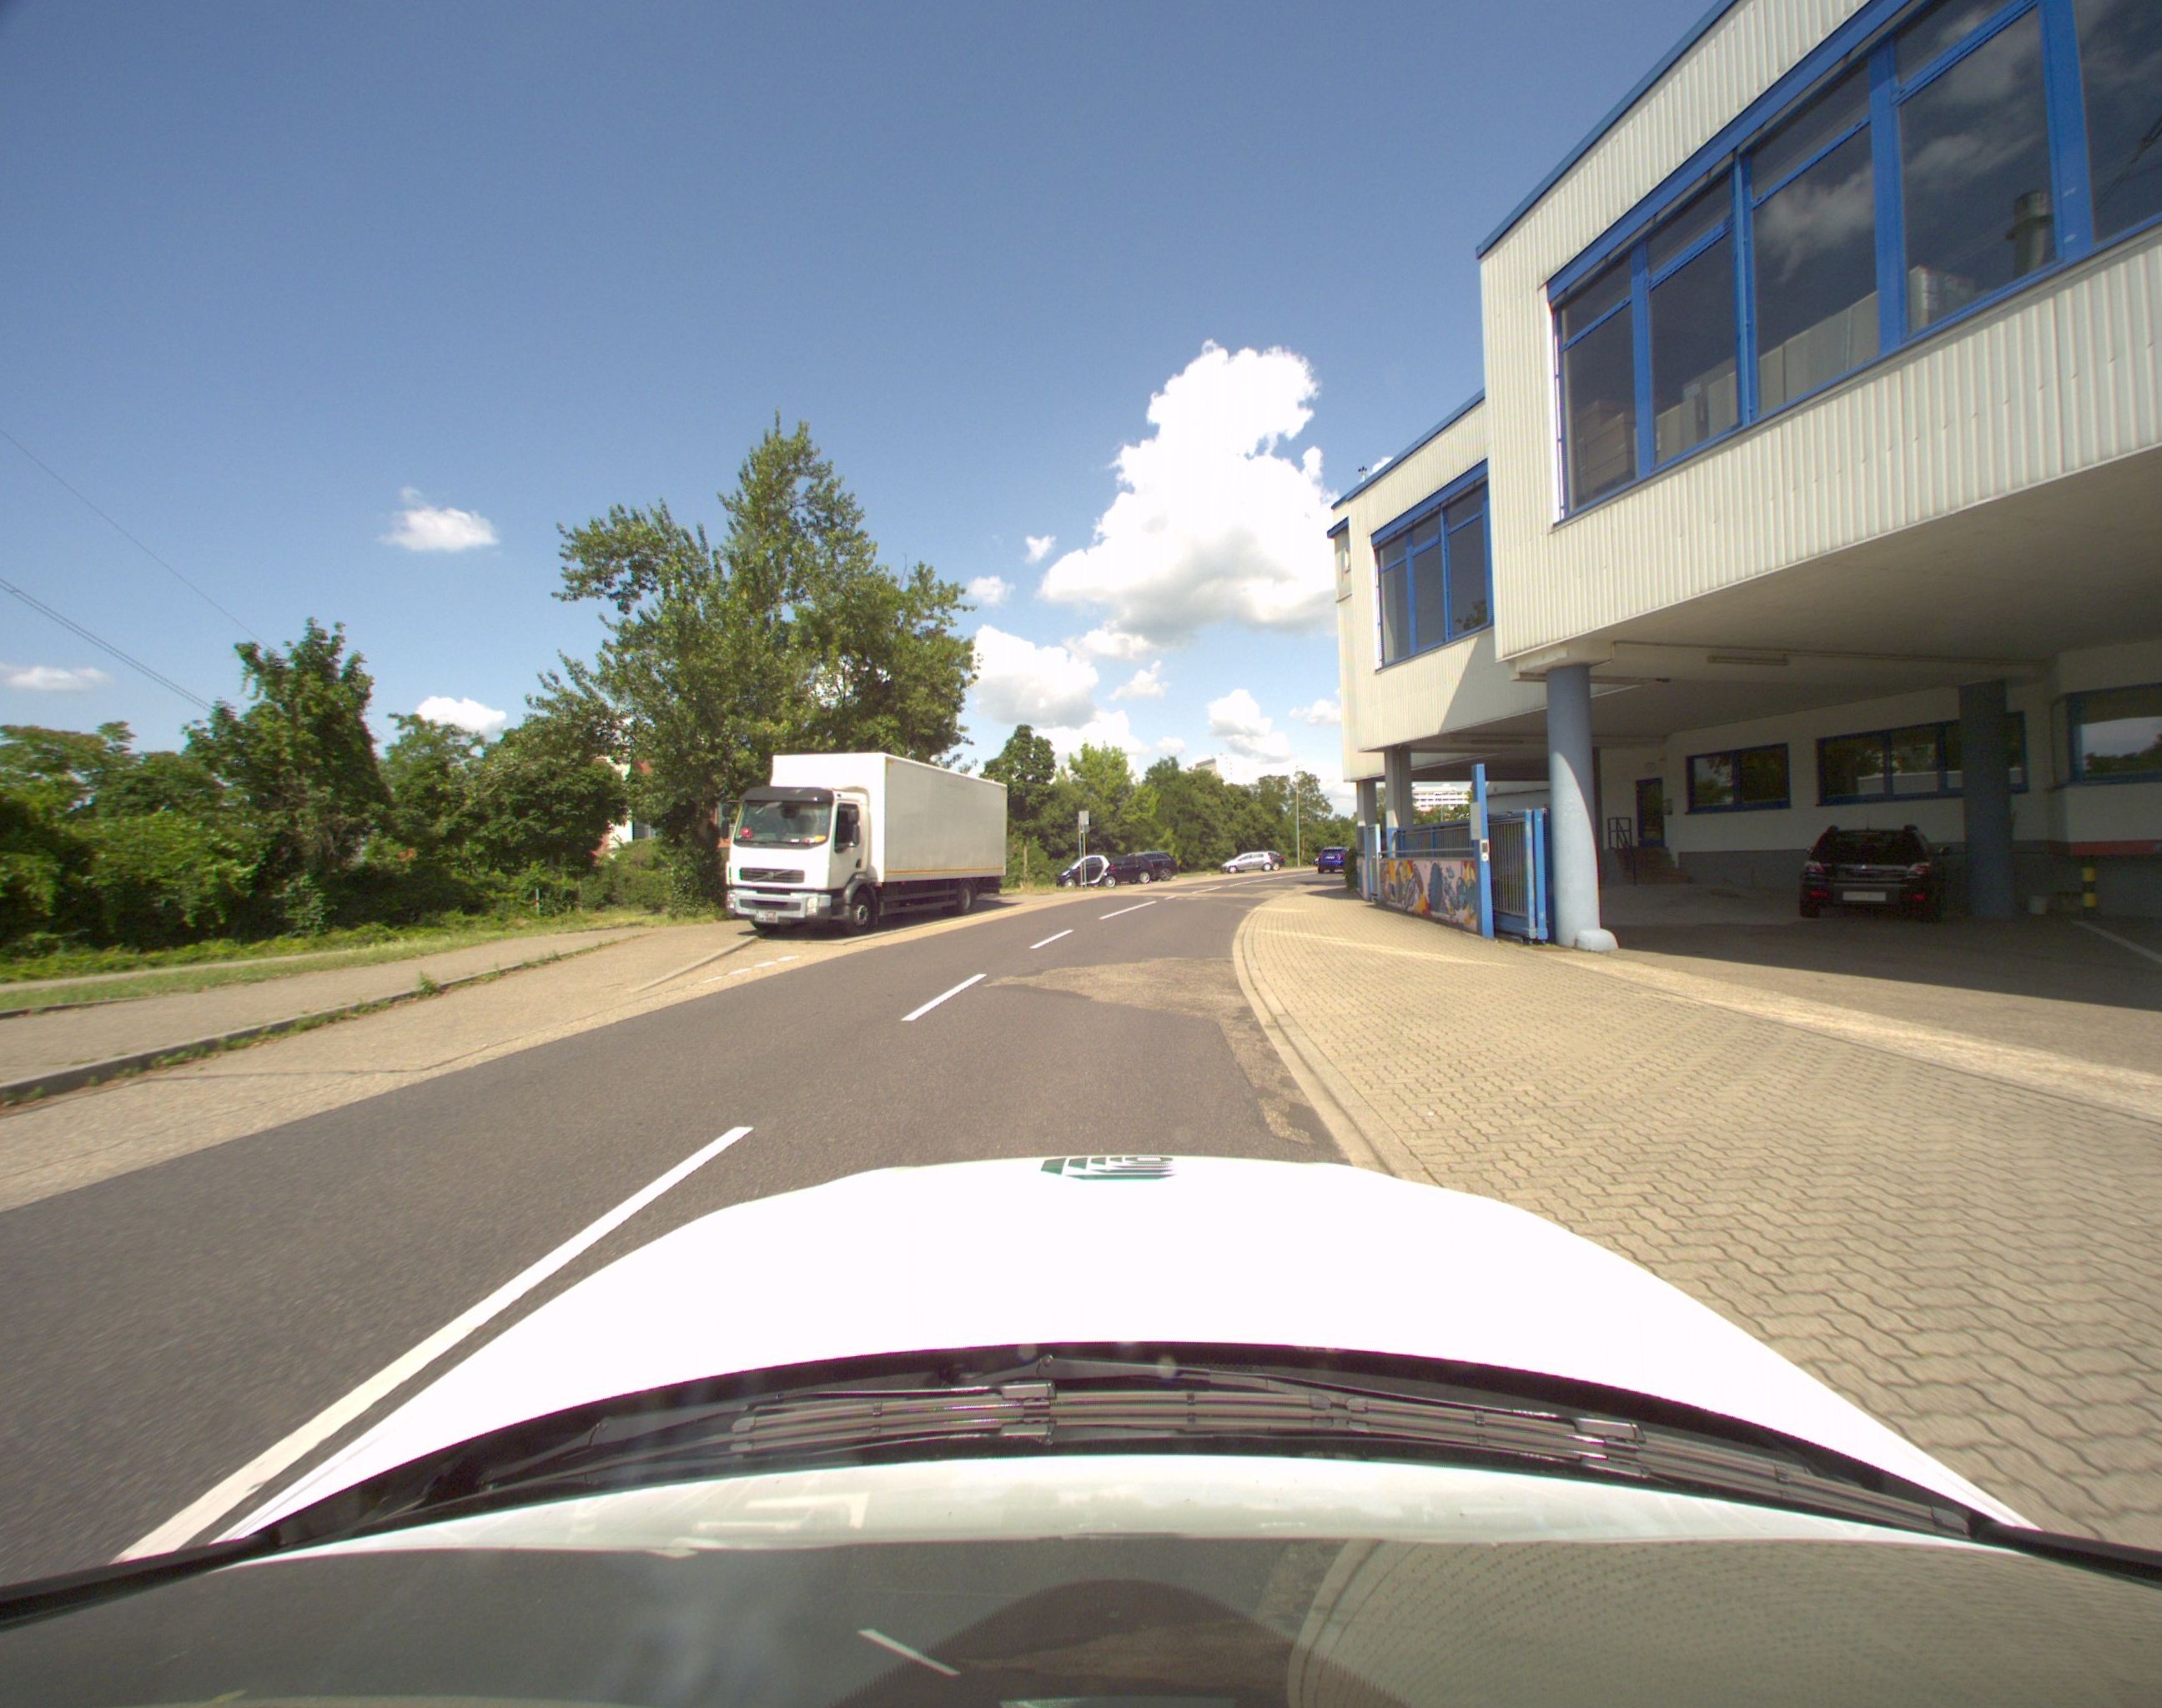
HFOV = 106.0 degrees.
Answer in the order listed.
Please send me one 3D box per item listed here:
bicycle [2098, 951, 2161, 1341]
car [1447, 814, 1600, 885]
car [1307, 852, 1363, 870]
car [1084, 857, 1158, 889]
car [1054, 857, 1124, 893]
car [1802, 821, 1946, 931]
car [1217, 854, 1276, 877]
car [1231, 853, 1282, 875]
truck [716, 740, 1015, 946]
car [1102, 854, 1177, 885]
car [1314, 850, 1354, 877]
[{"bbox_3d":[3.518,0.831,1.415,0.665,1.109,2.164,-2,-1,-4],"label":"bicycle"},{"bbox_3d":[13.211,-0.111,24.543,3.685,2.014,2.008,0,-2,15],"label":"car"},{"bbox_3d":[24.484,0.704,78.738,4.861,1.570,1.743,-2,-2,3],"label":"car"},{"bbox_3d":[2.021,0.954,41.427,3.335,1.475,1.693,-2,-1,-20],"label":"car"},{"bbox_3d":[0.345,0.987,38.029,2.900,1.570,1.882,-1,-2,-12],"label":"car"},{"bbox_3d":[14.497,0.308,14.833,3.684,1.658,1.651,-4,2,-42],"label":"car"},{"bbox_3d":[12.176,0.843,60.005,4.029,1.570,1.743,-2,-2,3],"label":"car"},{"bbox_3d":[13.388,0.765,62.151,3.563,1.570,1.743,-2,-2,3],"label":"car"},{"bbox_3d":[-4.228,-0.202,18.920,2.304,3.567,9.405,0,0,15],"label":"truck"},{"bbox_3d":[3.197,0.858,44.739,3.639,1.570,1.877,-1,-2,-19],"label":"car"},{"bbox_3d":[16.300,0.601,52.335,1.892,1.593,4.727,-2,-1,24],"label":"car"}]
